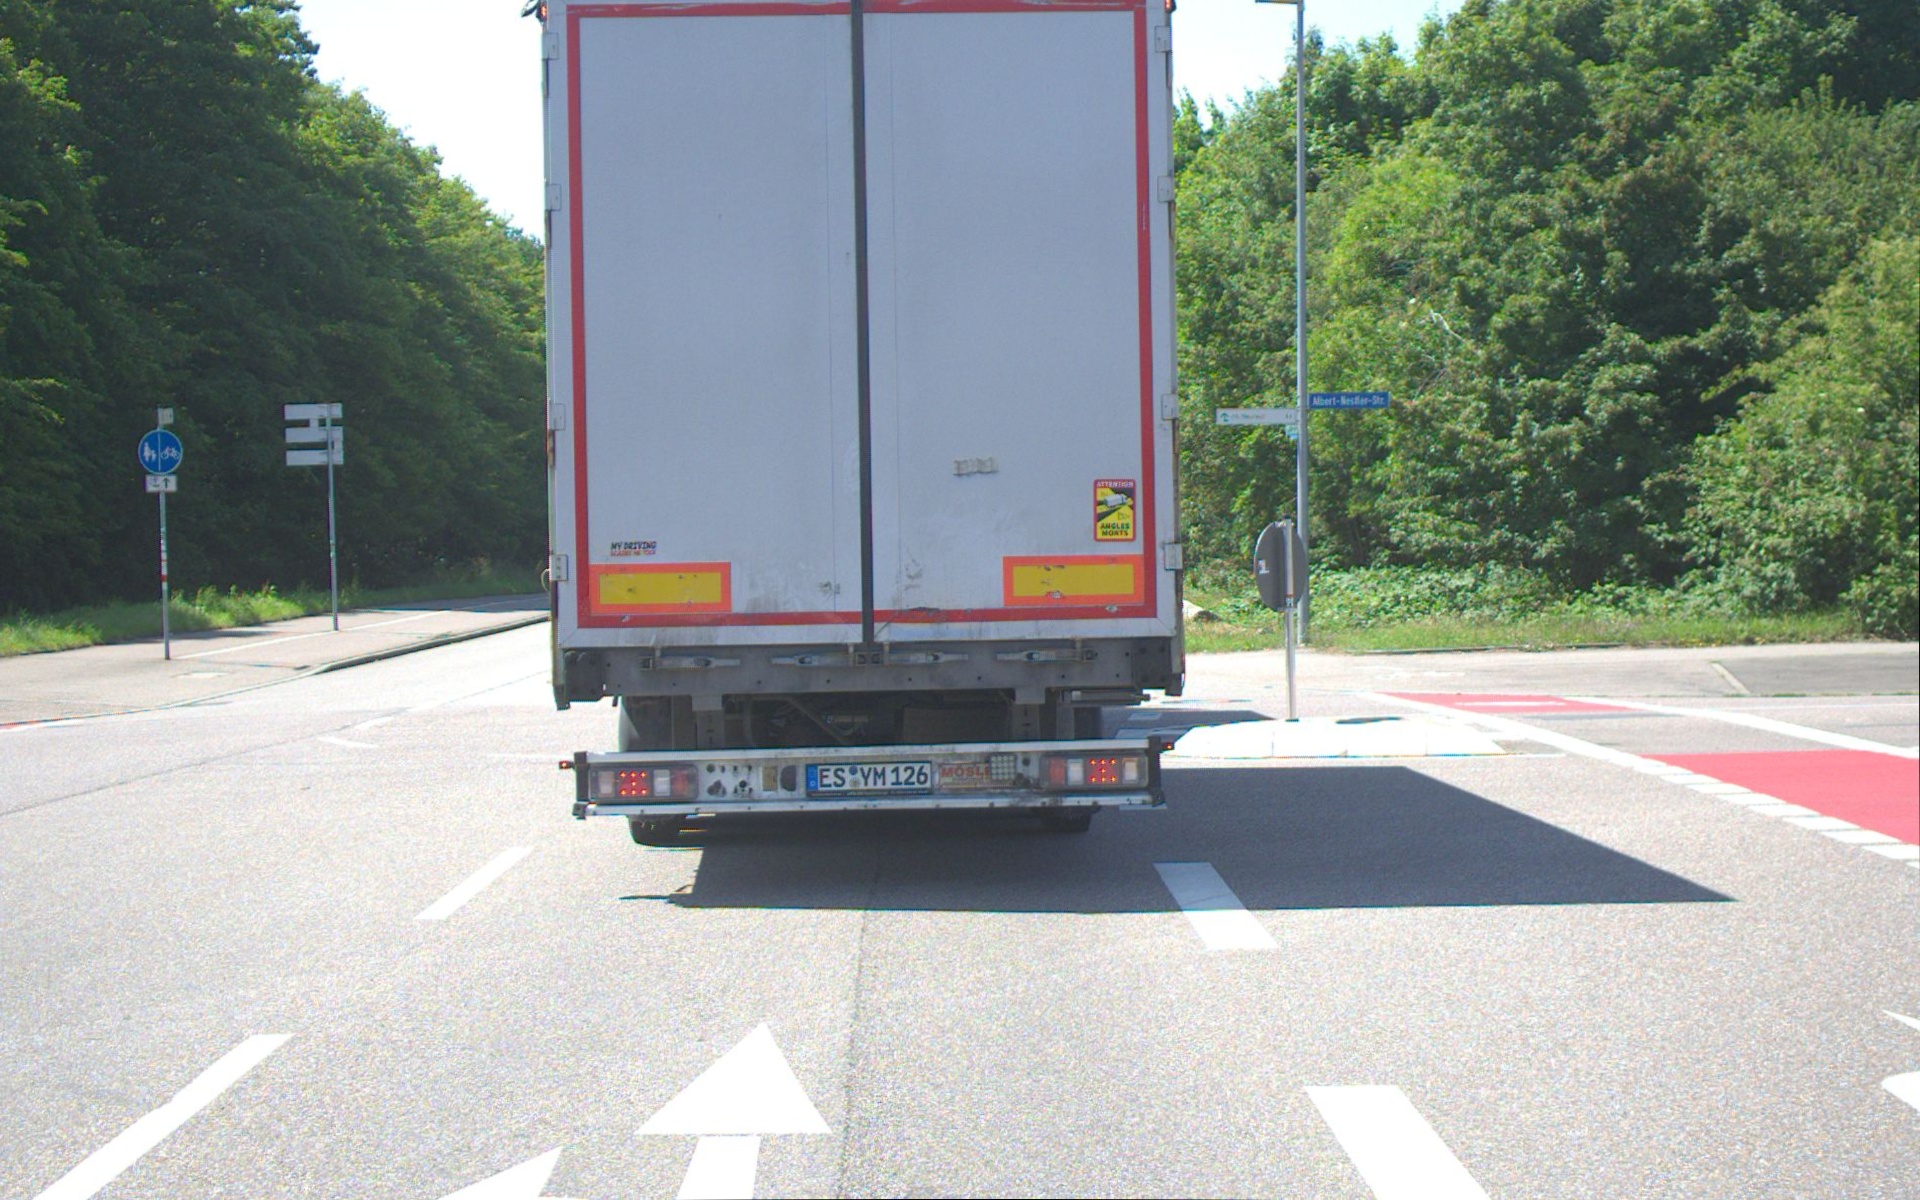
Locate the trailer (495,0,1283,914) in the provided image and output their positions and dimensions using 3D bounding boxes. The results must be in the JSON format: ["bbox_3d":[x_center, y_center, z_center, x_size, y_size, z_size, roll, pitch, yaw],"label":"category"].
[{"bbox_3d":[-0.611,-0.918,18.404,3.077,4.056,9.810,0,1,-4],"label":"trailer"}]
